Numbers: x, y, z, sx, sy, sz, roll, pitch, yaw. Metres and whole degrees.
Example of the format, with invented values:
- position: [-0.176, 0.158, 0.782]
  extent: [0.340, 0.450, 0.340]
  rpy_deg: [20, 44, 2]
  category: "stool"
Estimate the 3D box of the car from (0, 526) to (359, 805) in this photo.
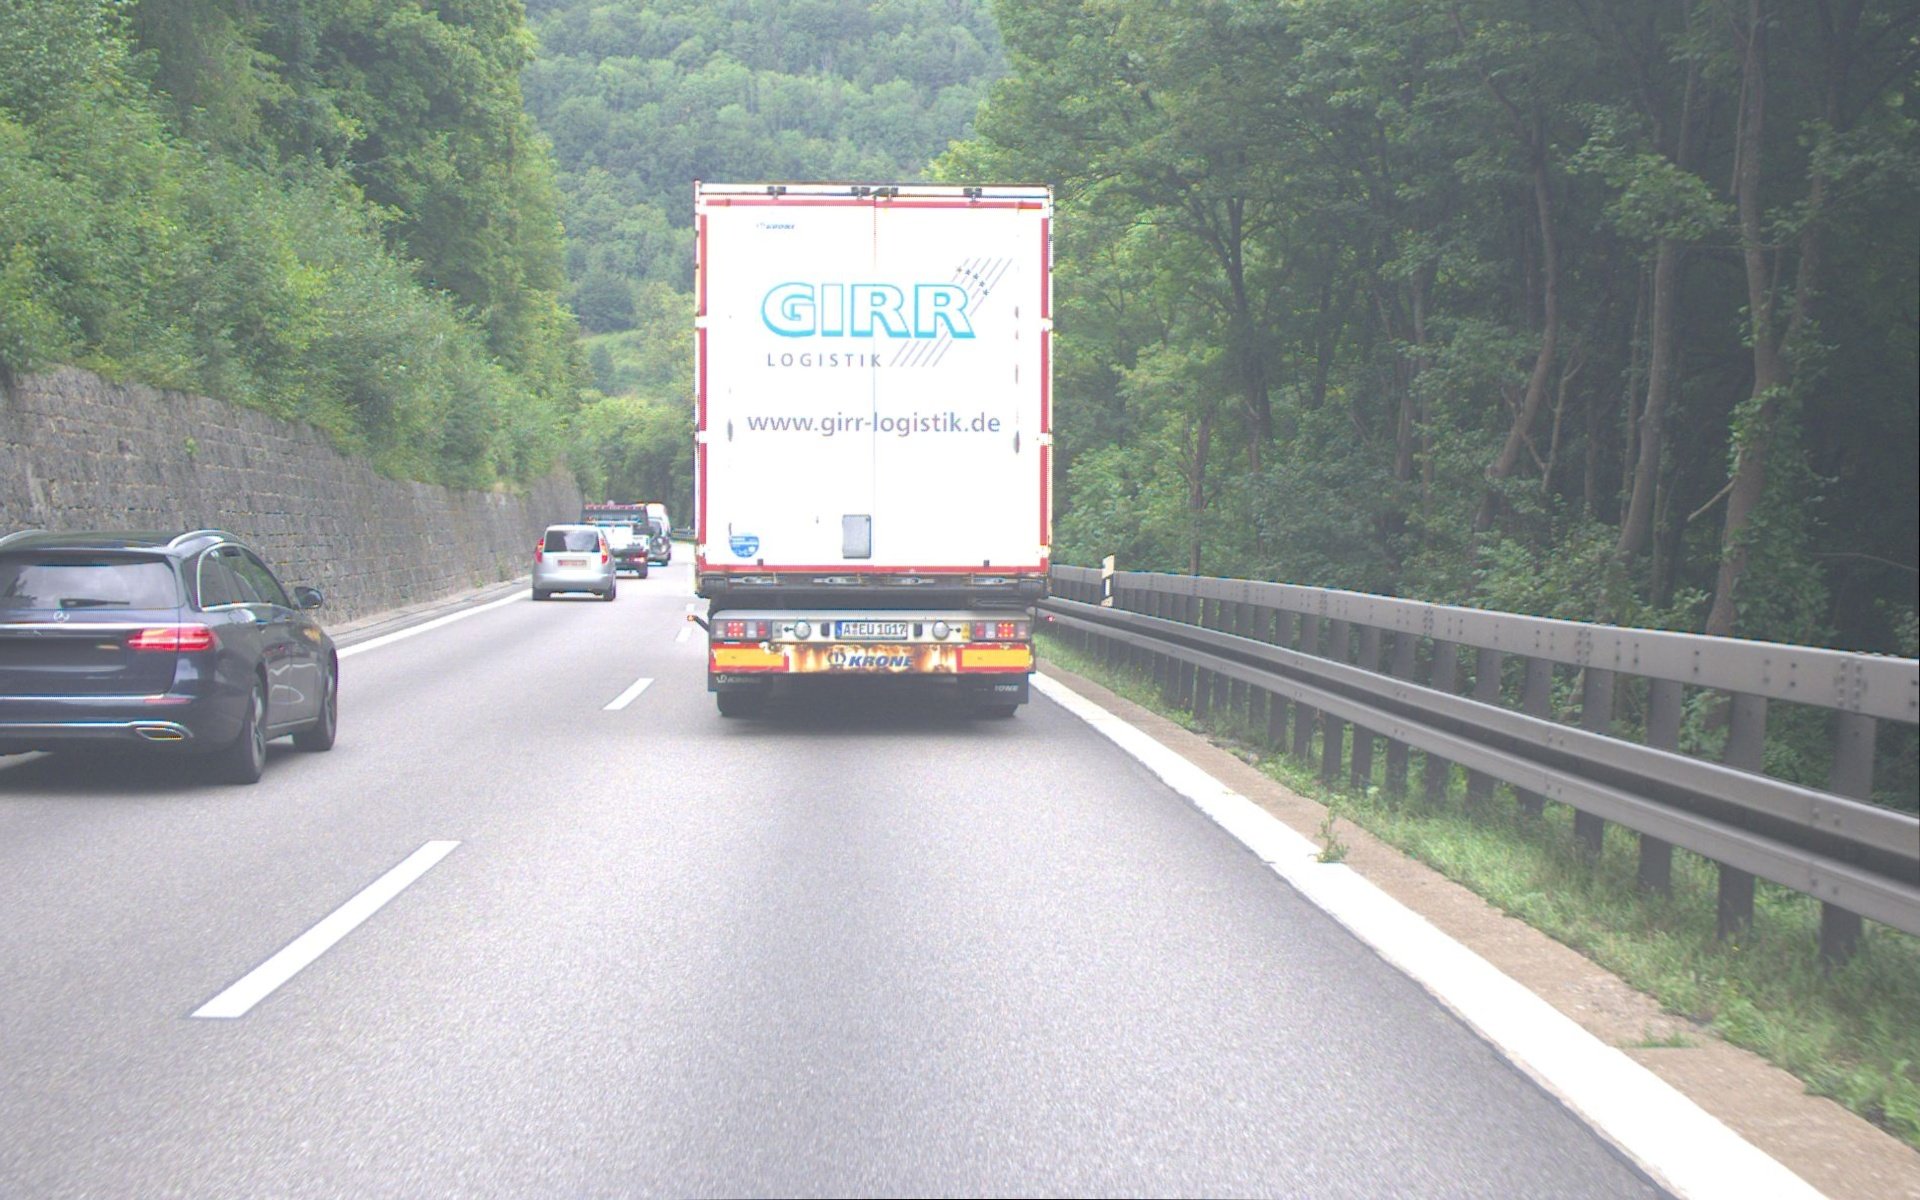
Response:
- position: [-4.968, 0.302, 21.189]
  extent: [1.760, 1.458, 5.123]
  rpy_deg: [1, 1, -2]
  category: "car"

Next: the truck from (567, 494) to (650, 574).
- position: [-10.771, -2.044, 105.678]
  extent: [2.348, 2.266, 6.851]
  rpy_deg: [3, 1, -5]
  category: "truck"

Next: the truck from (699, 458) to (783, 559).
- position: [-9.013, -3.700, 140.695]
  extent: [3.068, 3.864, 8.460]
  rpy_deg: [3, 1, -5]
  category: "truck"

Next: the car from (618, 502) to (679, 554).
- position: [-12.270, -2.848, 135.697]
  extent: [2.018, 1.907, 5.564]
  rpy_deg: [3, 1, -3]
  category: "car"

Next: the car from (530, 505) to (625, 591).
- position: [-8.134, -1.115, 73.349]
  extent: [1.634, 1.720, 4.345]
  rpy_deg: [2, 1, -2]
  category: "car"

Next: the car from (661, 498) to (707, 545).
- position: [-12.660, -3.587, 157.723]
  extent: [1.993, 2.007, 4.001]
  rpy_deg: [3, 1, -4]
  category: "car"

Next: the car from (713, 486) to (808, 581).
- position: [-4.502, -1.496, 78.179]
  extent: [1.993, 2.007, 4.334]
  rpy_deg: [3, 1, -2]
  category: "car"

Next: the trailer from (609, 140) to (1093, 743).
- position: [-1.010, -1.234, 28.914]
  extent: [3.132, 4.029, 9.441]
  rpy_deg: [4, 1, -3]
  category: "trailer"

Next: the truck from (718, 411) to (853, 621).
- position: [-3.340, -1.599, 67.055]
  extent: [2.233, 3.791, 6.823]
  rpy_deg: [3, 1, -1]
  category: "truck"
